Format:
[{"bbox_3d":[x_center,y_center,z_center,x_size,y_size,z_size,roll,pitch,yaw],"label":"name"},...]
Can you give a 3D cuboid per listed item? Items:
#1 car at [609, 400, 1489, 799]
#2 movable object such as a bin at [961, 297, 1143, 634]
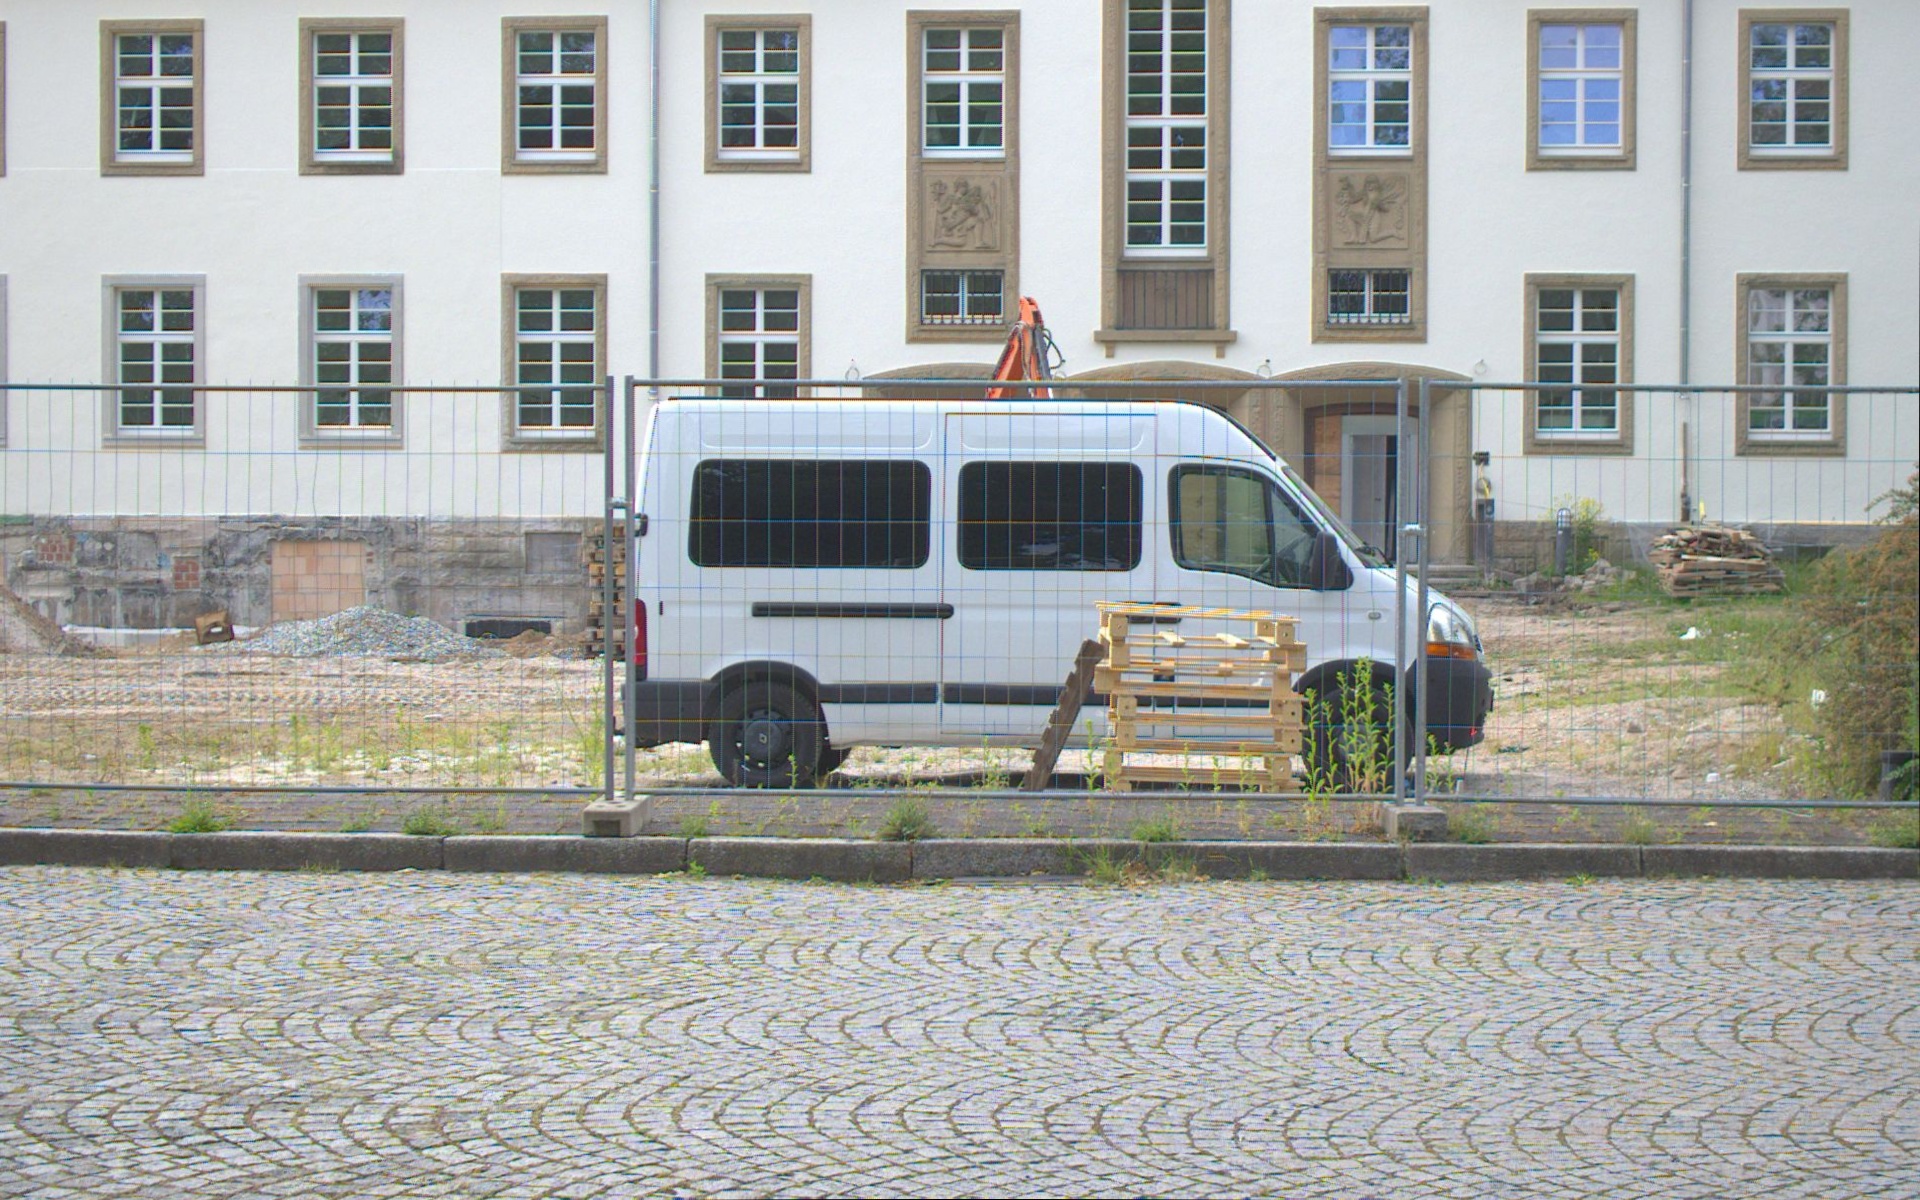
[{"bbox_3d":[0.587,-0.040,21.524,5.264,2.336,1.910,1,1,5],"label":"car"},{"bbox_3d":[1.038,-1.576,41.177,1.993,3.758,5.318,1,1,0],"label":"movable object such as a bin"}]
